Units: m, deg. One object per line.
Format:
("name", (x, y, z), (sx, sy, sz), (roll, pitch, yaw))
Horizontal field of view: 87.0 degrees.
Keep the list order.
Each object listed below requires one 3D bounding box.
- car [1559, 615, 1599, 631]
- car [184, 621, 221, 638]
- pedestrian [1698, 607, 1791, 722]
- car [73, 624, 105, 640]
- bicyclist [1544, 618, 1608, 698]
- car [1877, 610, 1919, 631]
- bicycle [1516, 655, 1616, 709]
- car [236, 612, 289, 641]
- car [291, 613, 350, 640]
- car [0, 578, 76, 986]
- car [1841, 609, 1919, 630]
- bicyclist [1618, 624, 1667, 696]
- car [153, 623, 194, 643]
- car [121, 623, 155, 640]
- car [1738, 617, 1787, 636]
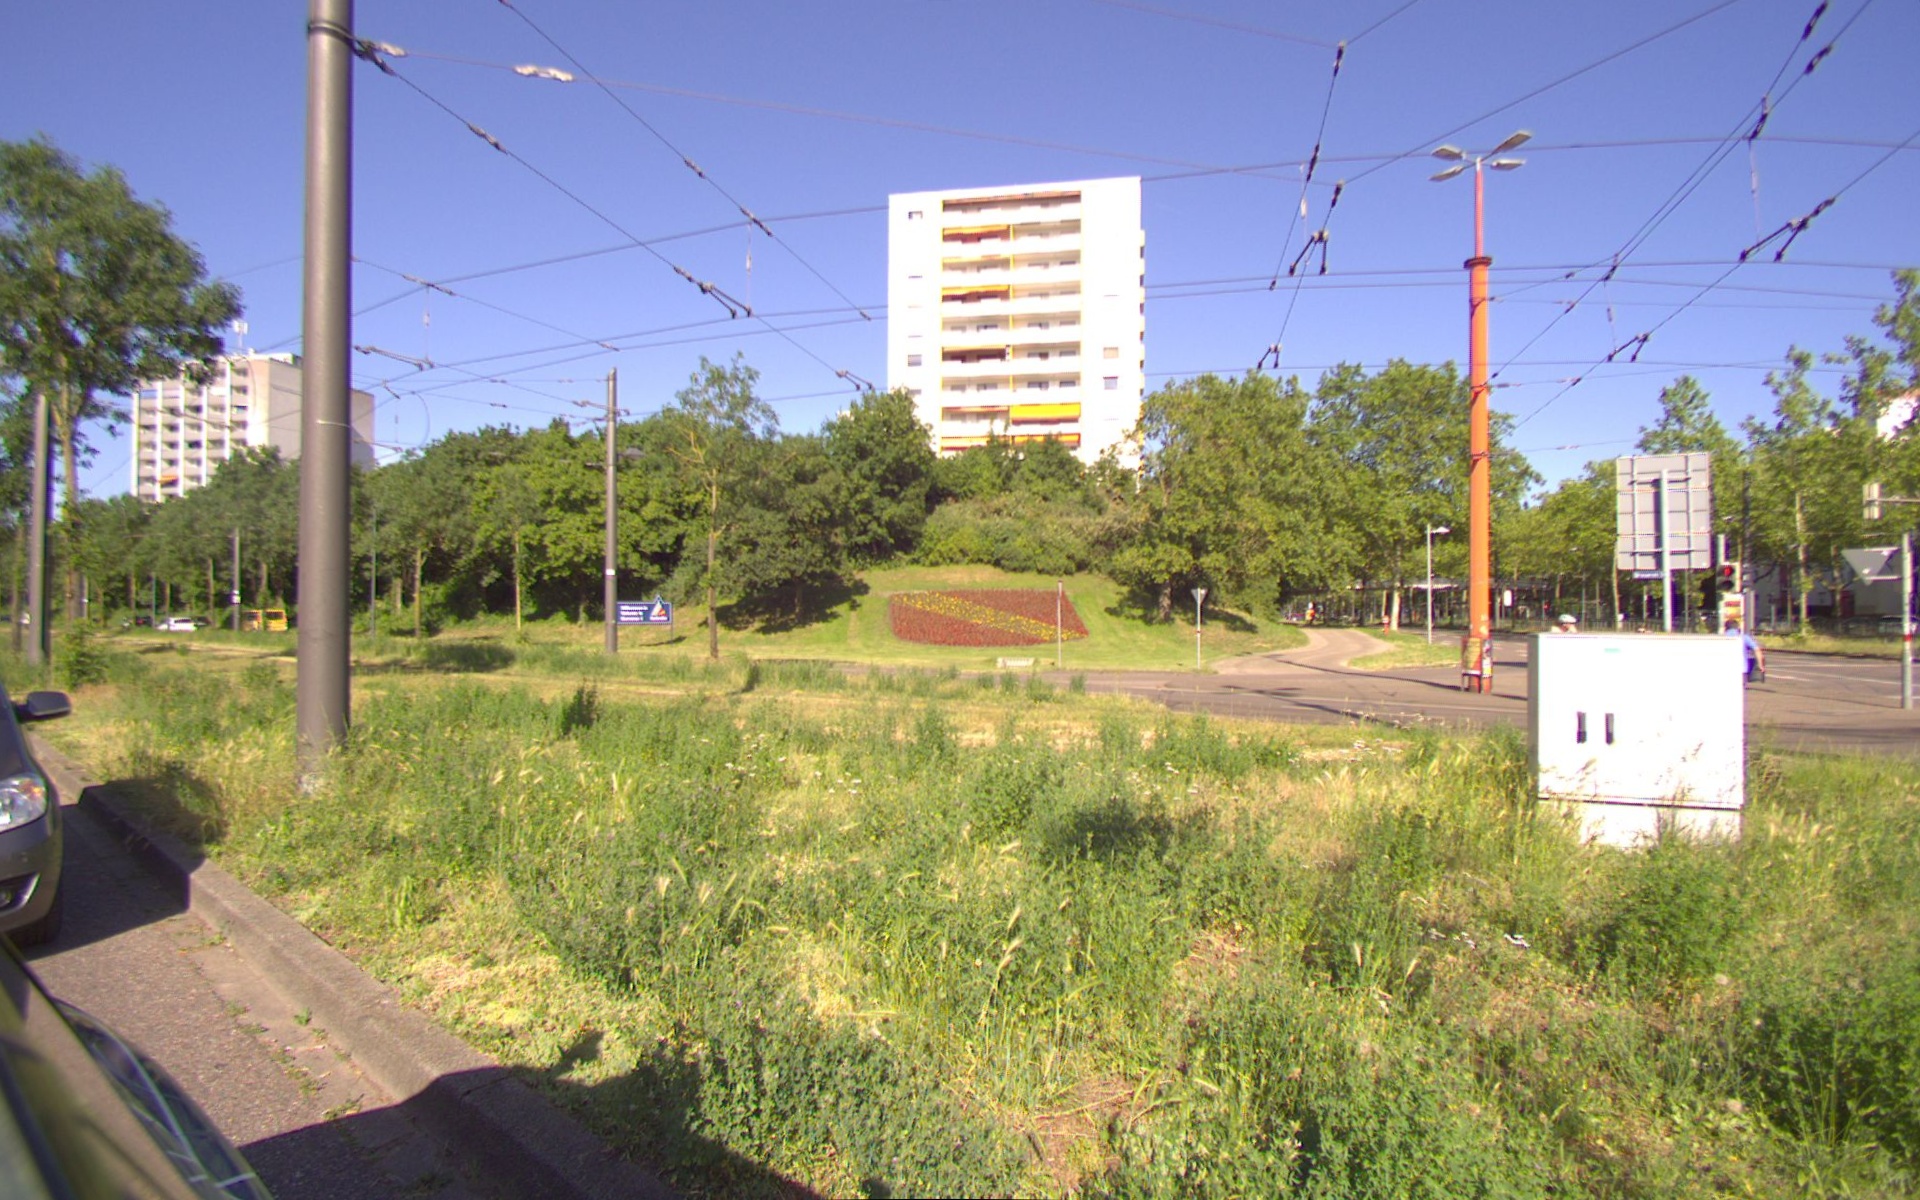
("car", (79.755, 3.000, 130.477), (3.969, 2.029, 1.987), (-1, -1, 20))
("car", (-62.528, 2.429, 83.531), (4.000, 1.386, 1.756), (-1, -2, 43))
("pedestrian", (12.767, 1.024, 16.510), (0.949, 1.807, 0.980), (-1, -1, 24))
("car", (-78.208, 2.866, 90.872), (4.312, 1.427, 1.774), (-1, -2, 44))
("bicyclist", (12.252, 1.134, 20.137), (0.719, 1.557, 0.770), (0, -2, -20))
("car", (64.906, 1.403, 68.396), (1.770, 1.420, 4.010), (1, -1, -36))
("bicycle", (12.114, 1.617, 20.278), (0.673, 0.968, 1.650), (0, -1, -20))
("car", (-49.851, 1.906, 72.276), (4.905, 1.981, 1.972), (-1, -2, 41))
("car", (-39.485, 1.627, 62.446), (4.105, 1.586, 1.973), (0, -3, 41))
("car", (-5.725, 0.749, 4.848), (3.879, 1.634, 1.737), (-1, -2, 41))
("car", (65.894, 1.382, 72.378), (1.770, 1.420, 4.010), (1, -1, -36))
("bicyclist", (13.340, 1.157, 19.790), (0.435, 1.391, 0.631), (0, -2, -20))
("car", (-57.712, 2.407, 74.279), (4.020, 1.418, 1.671), (-1, -2, 42))
("car", (-75.477, 2.850, 92.917), (4.239, 1.519, 1.769), (-1, -2, 42))
("car", (62.538, 2.068, 78.931), (1.742, 1.409, 3.976), (-1, -1, 18))
